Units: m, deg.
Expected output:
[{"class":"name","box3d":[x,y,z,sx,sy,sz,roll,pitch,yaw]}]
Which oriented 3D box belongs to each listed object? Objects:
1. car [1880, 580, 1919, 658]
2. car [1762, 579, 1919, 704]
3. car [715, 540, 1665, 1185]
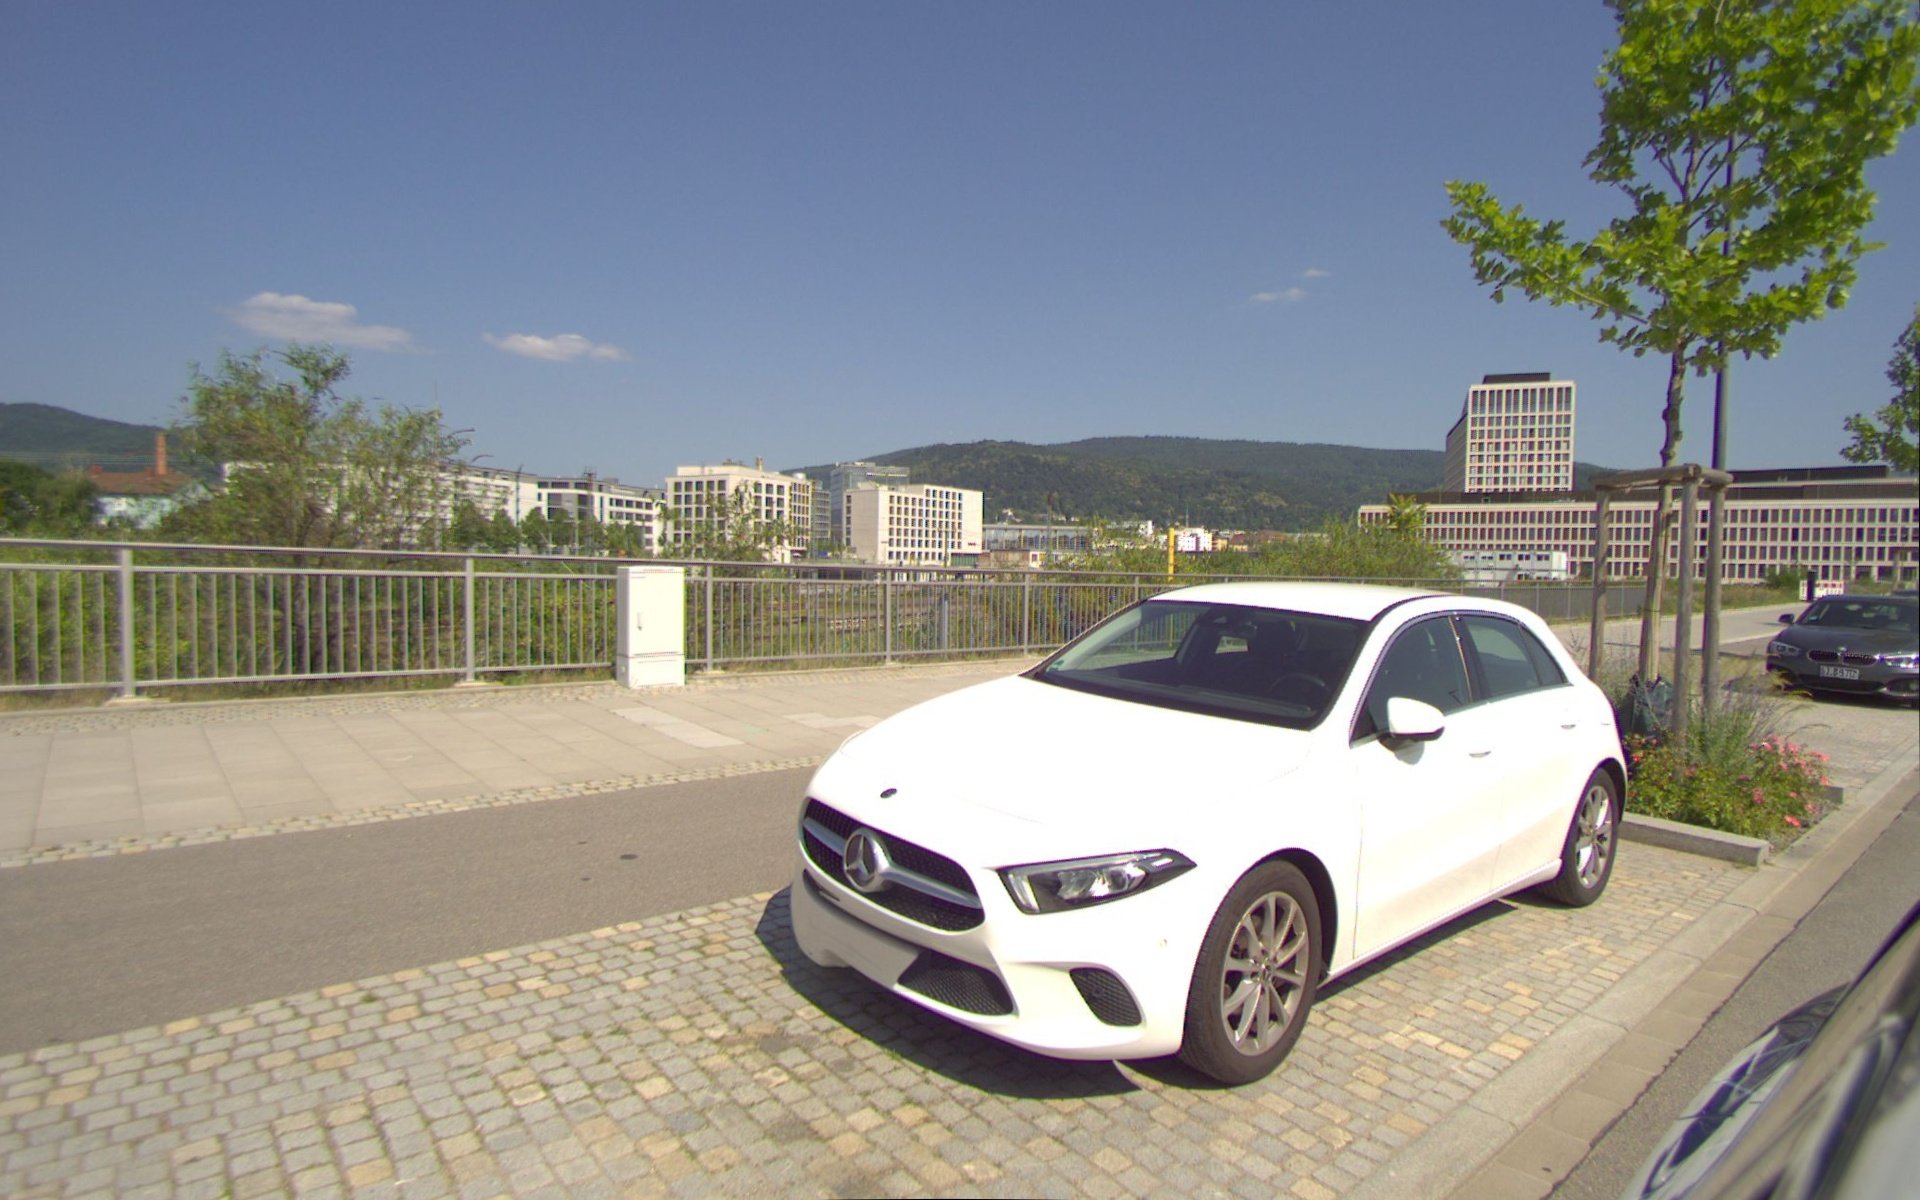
[{"class":"car","box3d":[19.989,0.392,20.507,2.954,1.491,1.569,-1,5,-41]},{"class":"car","box3d":[12.949,0.485,14.266,3.848,1.449,1.808,-1,5,-41]},{"class":"car","box3d":[1.290,0.537,4.285,4.196,1.390,1.711,-1,5,-41]}]
